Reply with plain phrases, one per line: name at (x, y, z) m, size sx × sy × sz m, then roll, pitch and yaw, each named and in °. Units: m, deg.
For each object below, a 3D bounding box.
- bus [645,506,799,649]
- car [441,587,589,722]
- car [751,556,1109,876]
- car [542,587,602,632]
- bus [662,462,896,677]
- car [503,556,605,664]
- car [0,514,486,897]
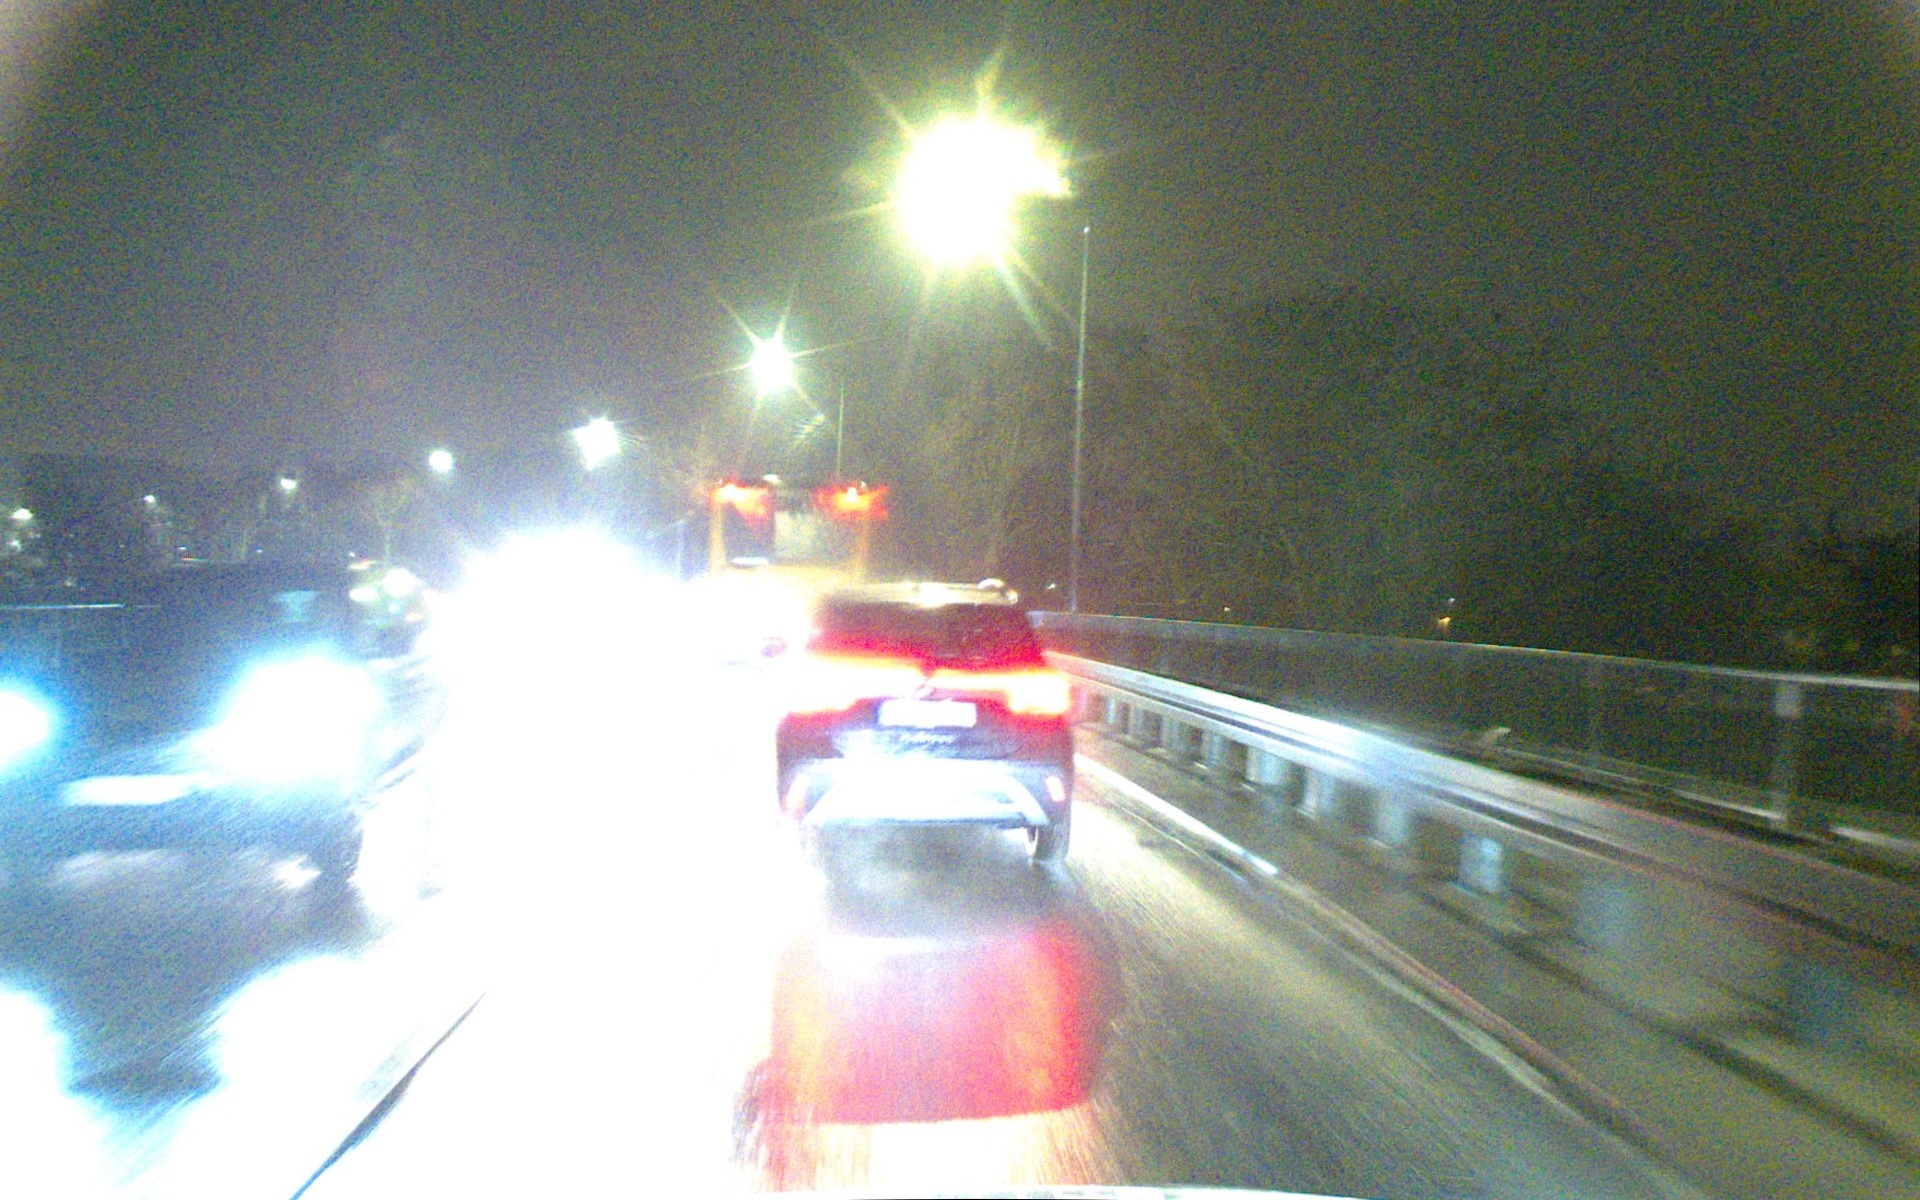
bus at (-6.082, -0.526, 41.062) m, size 2.997 × 3.186 × 8.049 m, roll -1°, pitch 0°, yaw -14°
car at (-6.206, 0.692, 23.435) m, size 1.761 × 1.659 × 3.982 m, roll 0°, pitch 1°, yaw -11°
car at (-0.277, 0.582, 10.396) m, size 1.819 × 1.614 × 3.997 m, roll 0°, pitch 0°, yaw -4°
car at (-15.507, 0.395, 66.031) m, size 1.615 × 1.684 × 3.681 m, roll -2°, pitch 0°, yaw -24°
bus at (-3.806, -0.524, 30.963) m, size 3.030 × 3.187 × 12.657 m, roll -1°, pitch 1°, yaw -12°
car at (-9.062, 0.200, 36.617) m, size 2.011 × 2.208 × 5.132 m, roll -1°, pitch 0°, yaw -16°
car at (-4.085, 0.471, 9.760) m, size 1.744 × 1.734 × 4.308 m, roll -1°, pitch 0°, yaw -6°
